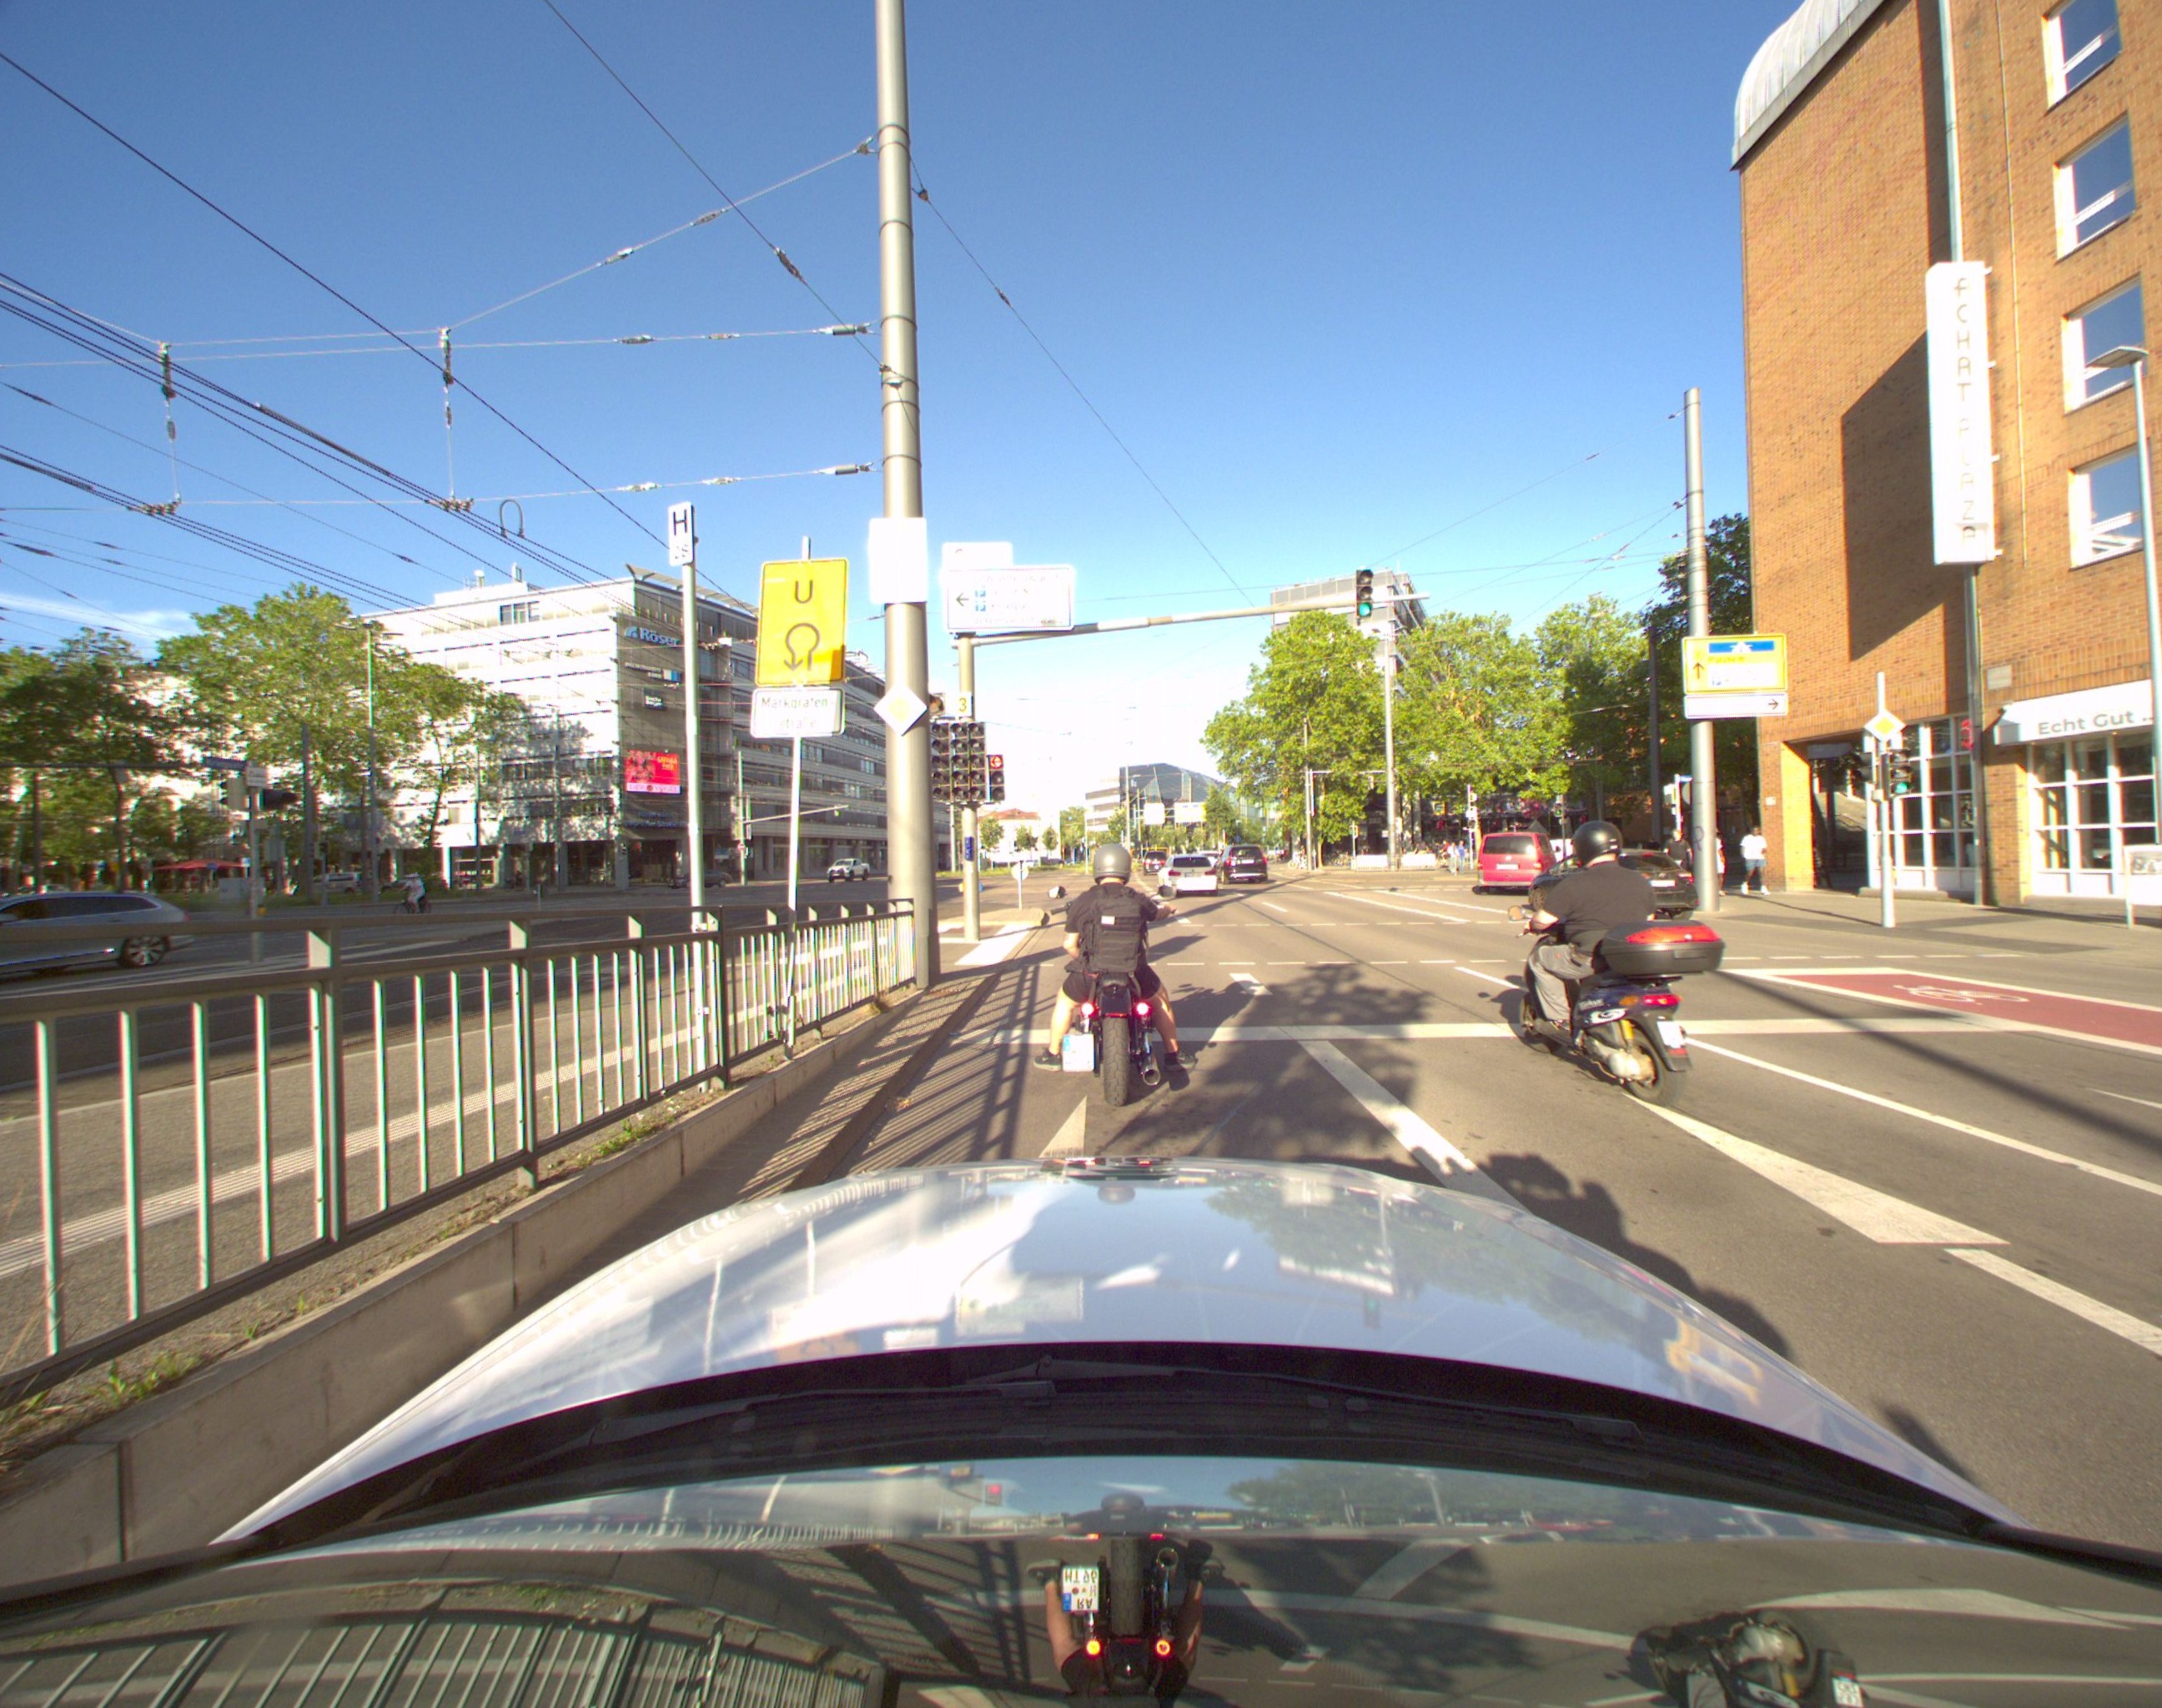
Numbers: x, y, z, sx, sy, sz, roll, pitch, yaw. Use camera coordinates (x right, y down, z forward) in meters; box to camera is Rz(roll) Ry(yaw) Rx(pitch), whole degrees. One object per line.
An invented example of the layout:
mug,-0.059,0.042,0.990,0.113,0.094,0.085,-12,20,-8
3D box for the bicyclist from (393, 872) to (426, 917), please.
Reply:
bicyclist,-23.290,1.407,28.265,0.584,1.534,0.650,0,-1,2

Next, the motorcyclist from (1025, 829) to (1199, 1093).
motorcyclist,0.204,0.659,5.433,1.027,1.593,0.874,-2,0,1

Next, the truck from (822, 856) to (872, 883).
truck,-18.561,1.231,64.818,1.984,1.880,5.161,-4,-1,4

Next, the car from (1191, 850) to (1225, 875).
car,8.212,0.525,52.949,1.725,1.598,4.043,0,0,2

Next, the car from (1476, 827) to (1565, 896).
car,14.154,0.223,26.118,1.786,2.008,4.501,0,0,38

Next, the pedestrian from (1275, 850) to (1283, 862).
pedestrian,21.975,0.257,90.438,0.814,1.314,0.640,-1,-1,10

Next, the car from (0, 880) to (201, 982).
car,-18.023,1.290,13.496,1.820,1.568,4.690,-2,-1,-2

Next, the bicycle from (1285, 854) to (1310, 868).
bicycle,17.330,0.552,65.056,1.854,1.044,0.540,-1,-1,20

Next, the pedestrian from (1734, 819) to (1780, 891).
pedestrian,17.110,0.035,20.618,0.588,1.780,0.684,-3,-1,13

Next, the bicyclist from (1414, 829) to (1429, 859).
bicyclist,20.993,-0.594,50.197,0.693,1.808,0.730,0,-1,6

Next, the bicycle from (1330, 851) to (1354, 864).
bicycle,21.470,0.311,66.974,1.874,1.046,0.360,0,-1,1

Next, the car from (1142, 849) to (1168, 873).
car,5.217,0.514,57.819,1.795,1.678,4.046,0,-1,5

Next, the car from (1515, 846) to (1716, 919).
car,11.611,0.553,18.066,1.727,1.450,4.037,0,0,-2

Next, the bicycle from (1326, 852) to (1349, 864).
bicycle,21.467,0.337,68.163,1.874,1.046,0.360,0,-1,1

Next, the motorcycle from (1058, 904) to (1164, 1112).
motorcycle,0.204,0.945,5.755,0.598,1.036,2.235,0,0,2

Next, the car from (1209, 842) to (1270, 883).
car,7.109,0.330,36.973,1.727,1.732,4.608,0,0,-2

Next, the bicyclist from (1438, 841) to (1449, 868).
bicyclist,25.013,0.025,56.154,0.582,1.837,0.403,0,-1,1

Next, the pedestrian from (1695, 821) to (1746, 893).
pedestrian,16.266,0.082,20.737,0.591,1.780,0.681,-5,-2,-1

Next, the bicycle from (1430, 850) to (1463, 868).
bicycle,25.177,0.333,56.140,2.034,1.214,0.421,0,-1,2

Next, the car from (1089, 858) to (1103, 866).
car,2.899,1.476,158.803,1.736,1.524,4.016,-1,-1,16

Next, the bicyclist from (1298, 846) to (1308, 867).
bicyclist,17.719,0.225,64.918,0.682,1.673,0.544,-2,-2,21

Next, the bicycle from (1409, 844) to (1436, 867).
bicycle,21.017,0.119,50.224,0.722,1.367,2.922,0,-1,6

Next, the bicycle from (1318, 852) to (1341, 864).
bicycle,21.456,0.337,70.301,1.874,1.046,0.360,0,0,1

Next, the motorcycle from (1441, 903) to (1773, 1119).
motorcycle,3.363,0.921,5.585,0.801,1.050,2.376,0,-1,2

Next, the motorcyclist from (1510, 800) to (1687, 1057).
motorcyclist,3.337,0.463,5.302,0.793,1.580,0.529,0,-1,1

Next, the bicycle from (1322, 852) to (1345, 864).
bicycle,21.461,0.331,69.149,1.874,1.046,0.360,0,0,1

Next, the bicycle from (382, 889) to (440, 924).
bicycle,-23.310,1.803,28.373,0.458,1.090,1.815,-3,-1,2

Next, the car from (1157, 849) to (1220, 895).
car,3.676,0.611,28.453,1.725,1.457,4.419,0,-1,2

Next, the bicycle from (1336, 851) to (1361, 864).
bicycle,21.441,0.265,65.378,1.874,1.046,0.360,0,-1,1

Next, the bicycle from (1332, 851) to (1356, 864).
bicycle,21.370,0.288,66.161,1.874,1.046,0.360,0,-1,1

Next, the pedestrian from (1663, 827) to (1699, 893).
pedestrian,16.639,0.165,22.596,0.727,1.792,0.515,-1,-1,42

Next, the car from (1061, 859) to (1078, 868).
car,-1.951,1.661,140.260,1.812,1.430,4.256,-1,-1,13

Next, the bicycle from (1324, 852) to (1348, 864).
bicycle,21.471,0.331,68.649,1.874,1.046,0.360,0,0,1

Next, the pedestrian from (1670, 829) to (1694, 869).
pedestrian,25.629,-0.201,34.758,0.634,1.700,0.727,-1,-1,21

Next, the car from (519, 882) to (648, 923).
car,-14.009,1.351,23.075,2.884,1.063,1.235,0,-1,-19

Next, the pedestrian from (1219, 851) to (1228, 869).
pedestrian,11.996,0.517,68.491,0.587,1.557,0.488,0,-1,-6

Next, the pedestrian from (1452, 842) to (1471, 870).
pedestrian,20.767,0.117,44.444,0.569,1.479,0.696,0,-1,-28

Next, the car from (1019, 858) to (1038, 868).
car,-7.634,1.317,119.084,1.814,1.430,4.542,-2,0,10

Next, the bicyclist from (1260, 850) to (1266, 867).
bicyclist,14.720,0.343,65.806,0.346,1.373,0.378,0,-1,-34

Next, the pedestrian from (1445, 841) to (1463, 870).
pedestrian,20.225,0.093,44.169,0.569,1.532,0.696,0,-1,-26

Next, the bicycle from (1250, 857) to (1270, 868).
bicycle,14.501,0.709,66.117,0.359,0.925,1.812,0,-1,-34
